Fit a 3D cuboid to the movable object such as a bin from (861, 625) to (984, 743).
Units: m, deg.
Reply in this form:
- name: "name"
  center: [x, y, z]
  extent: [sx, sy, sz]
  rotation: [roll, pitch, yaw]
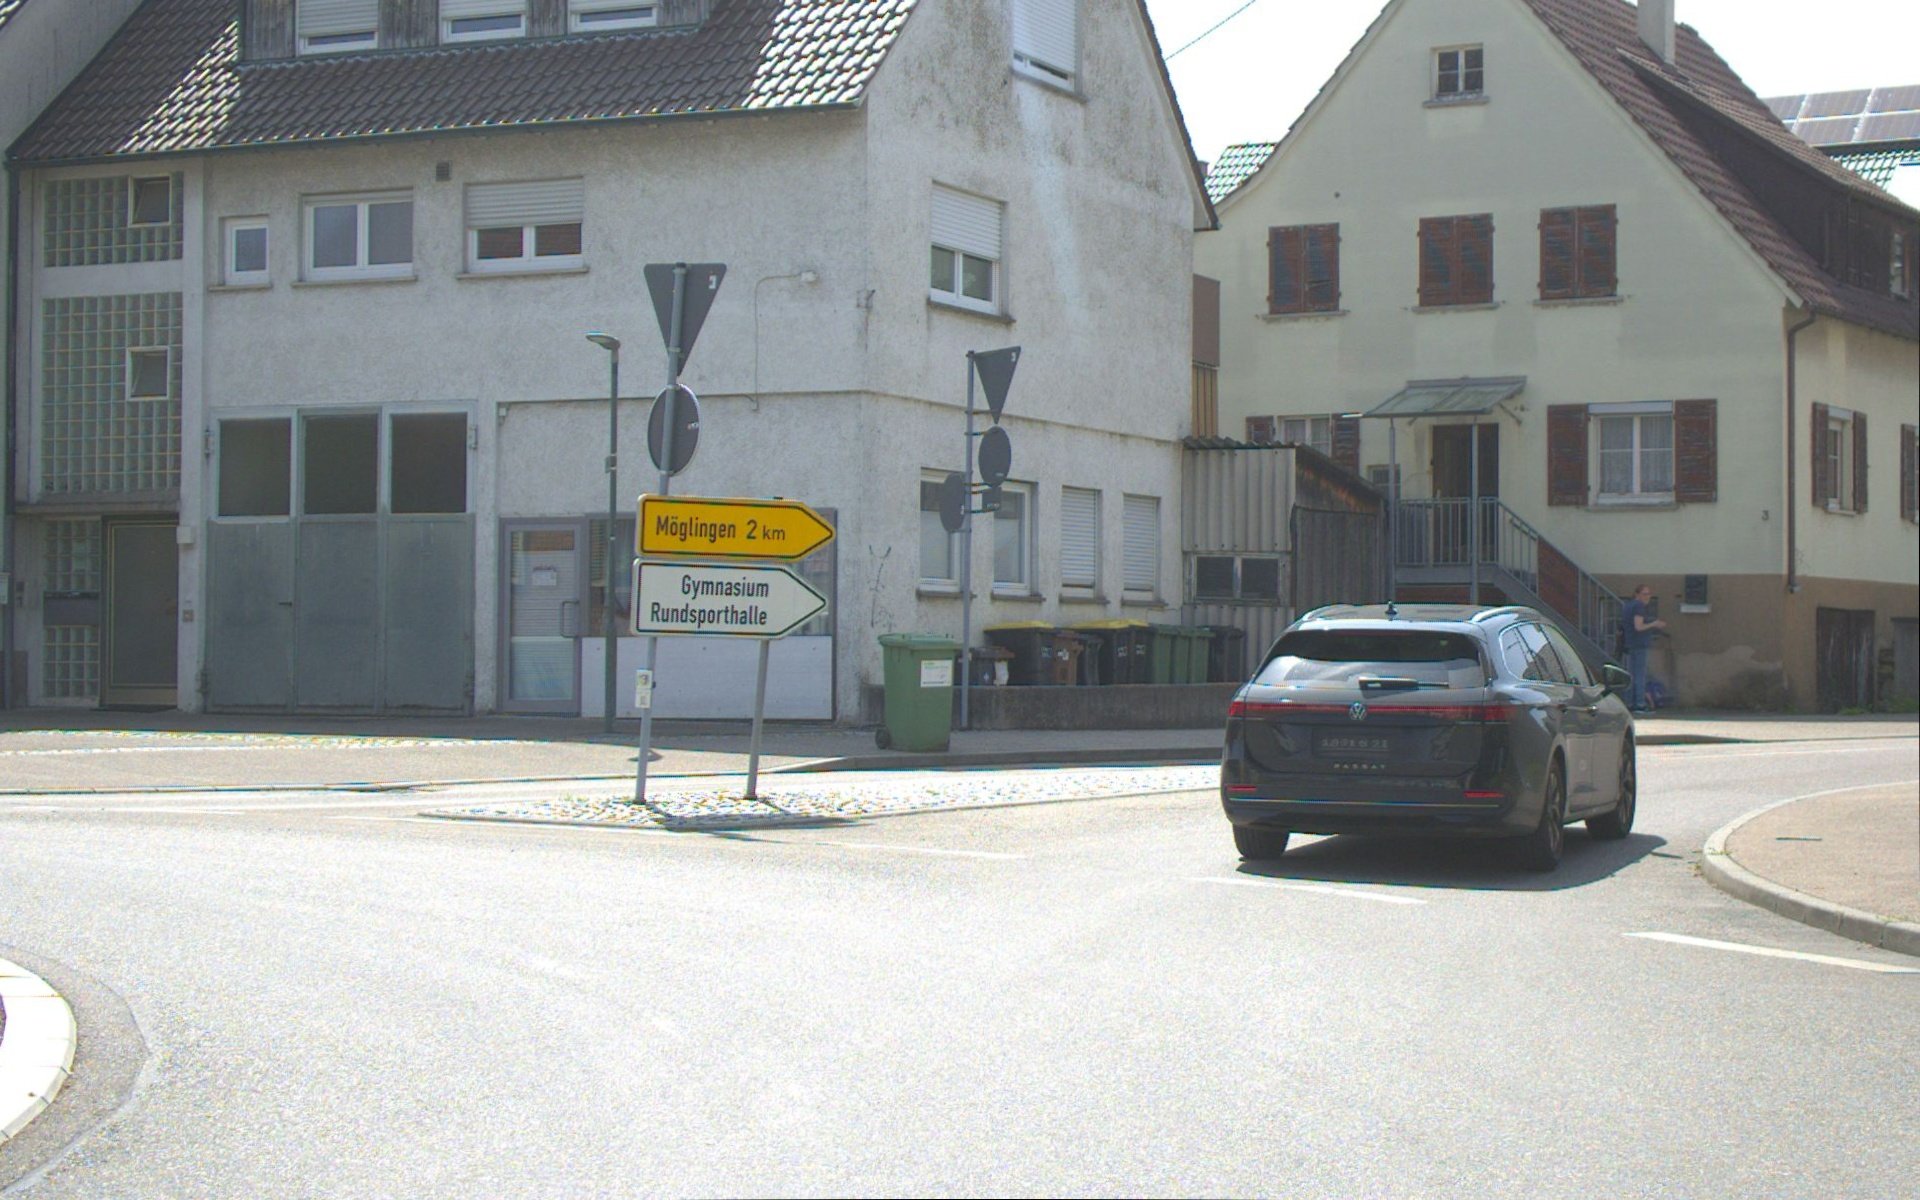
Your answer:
- name: "movable object such as a bin"
  center: [-0.347, 0.761, 31.412]
  extent: [0.824, 1.041, 0.811]
  rotation: [0, 0, -30]

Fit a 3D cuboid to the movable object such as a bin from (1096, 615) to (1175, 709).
- name: "movable object such as a bin"
  center: [2.056, 0.721, 40.289]
  extent: [0.739, 1.078, 0.659]
  rotation: [1, 0, 23]

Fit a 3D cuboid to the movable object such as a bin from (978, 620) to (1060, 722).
- name: "movable object such as a bin"
  center: [0.644, 0.761, 37.246]
  extent: [0.683, 1.082, 0.644]
  rotation: [1, 0, 23]

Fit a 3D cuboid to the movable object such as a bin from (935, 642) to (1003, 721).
- name: "movable object such as a bin"
  center: [0.099, 0.850, 36.056]
  extent: [0.486, 0.802, 0.646]
  rotation: [1, 0, 25]

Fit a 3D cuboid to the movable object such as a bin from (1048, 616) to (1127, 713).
- name: "movable object such as a bin"
  center: [1.453, 0.729, 39.201]
  extent: [0.683, 1.078, 0.697]
  rotation: [1, 0, 23]

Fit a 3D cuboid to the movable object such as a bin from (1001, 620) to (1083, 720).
- name: "movable object such as a bin"
  center: [0.908, 0.764, 37.885]
  extent: [0.683, 1.082, 0.697]
  rotation: [1, 0, 23]

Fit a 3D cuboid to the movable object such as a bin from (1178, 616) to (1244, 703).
- name: "movable object such as a bin"
  center: [3.067, 0.722, 42.015]
  extent: [0.629, 1.030, 0.612]
  rotation: [1, 0, 23]

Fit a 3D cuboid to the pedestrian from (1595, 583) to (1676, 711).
- name: "pedestrian"
  center: [8.420, 0.579, 42.843]
  extent: [0.779, 1.569, 0.626]
  rotation: [1, 0, 41]

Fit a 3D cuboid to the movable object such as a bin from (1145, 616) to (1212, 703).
- name: "movable object such as a bin"
  center: [2.632, 0.712, 41.417]
  extent: [0.628, 1.032, 0.603]
  rotation: [1, 0, 23]

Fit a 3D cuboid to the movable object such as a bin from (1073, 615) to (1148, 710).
- name: "movable object such as a bin"
  center: [1.739, 0.718, 39.710]
  extent: [0.683, 1.078, 0.625]
  rotation: [1, 0, 23]

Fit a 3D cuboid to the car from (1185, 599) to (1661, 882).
- name: "car"
  center: [2.859, 0.723, 20.262]
  extent: [1.843, 1.415, 4.678]
  rotation: [1, 1, 20]

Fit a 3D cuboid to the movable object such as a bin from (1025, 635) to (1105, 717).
- name: "movable object such as a bin"
  center: [1.178, 0.844, 38.544]
  extent: [0.683, 0.893, 0.697]
  rotation: [1, 0, 23]

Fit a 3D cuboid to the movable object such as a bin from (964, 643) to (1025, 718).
- name: "movable object such as a bin"
  center: [0.371, 0.853, 36.648]
  extent: [0.486, 0.778, 0.527]
  rotation: [1, 0, 23]

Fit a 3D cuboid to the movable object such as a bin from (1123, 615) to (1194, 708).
- name: "movable object such as a bin"
  center: [2.366, 0.724, 40.871]
  extent: [0.679, 1.078, 0.583]
  rotation: [1, 0, 23]
